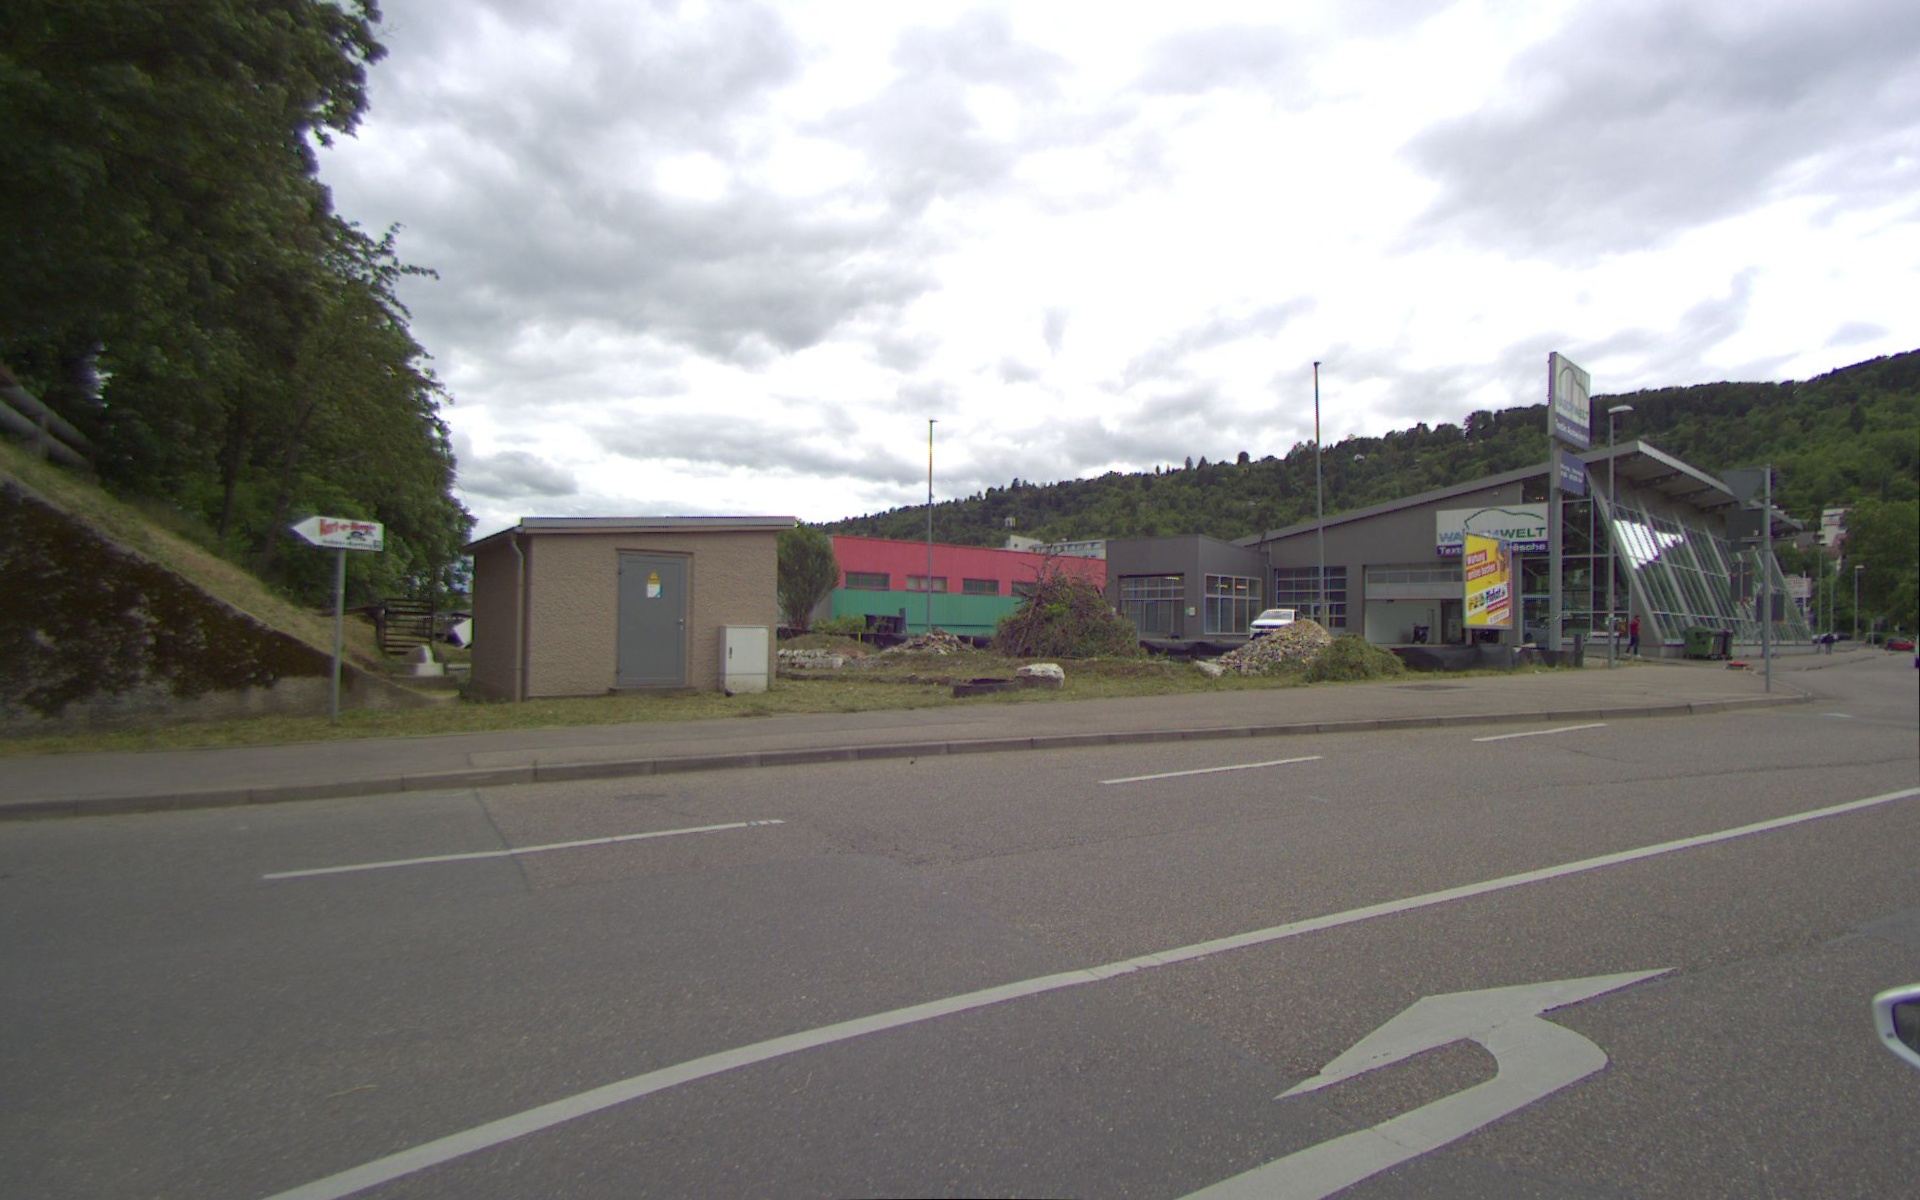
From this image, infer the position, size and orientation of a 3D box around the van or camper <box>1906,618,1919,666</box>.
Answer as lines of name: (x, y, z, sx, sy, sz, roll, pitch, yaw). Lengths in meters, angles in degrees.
van or camper: (44.144, 1.907, 45.277, 2.076, 2.110, 4.182, -1, -3, 42)

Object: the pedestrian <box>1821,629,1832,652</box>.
pedestrian: (66.086, 3.098, 76.601, 0.621, 1.695, 0.754, -1, -2, 43)

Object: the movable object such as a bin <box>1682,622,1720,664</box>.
movable object such as a bin: (32.182, 1.855, 43.614, 1.051, 1.780, 1.132, 3, -2, -41)

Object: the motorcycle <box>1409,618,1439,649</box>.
motorcycle: (26.629, 1.913, 57.616, 0.831, 1.732, 2.349, 0, -2, 44)

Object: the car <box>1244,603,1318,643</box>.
car: (13.156, 0.937, 41.028, 1.966, 1.556, 3.990, 0, -1, 32)

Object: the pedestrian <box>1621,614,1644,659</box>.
pedestrian: (29.145, 1.584, 43.531, 0.815, 1.892, 0.716, -1, -2, 35)
